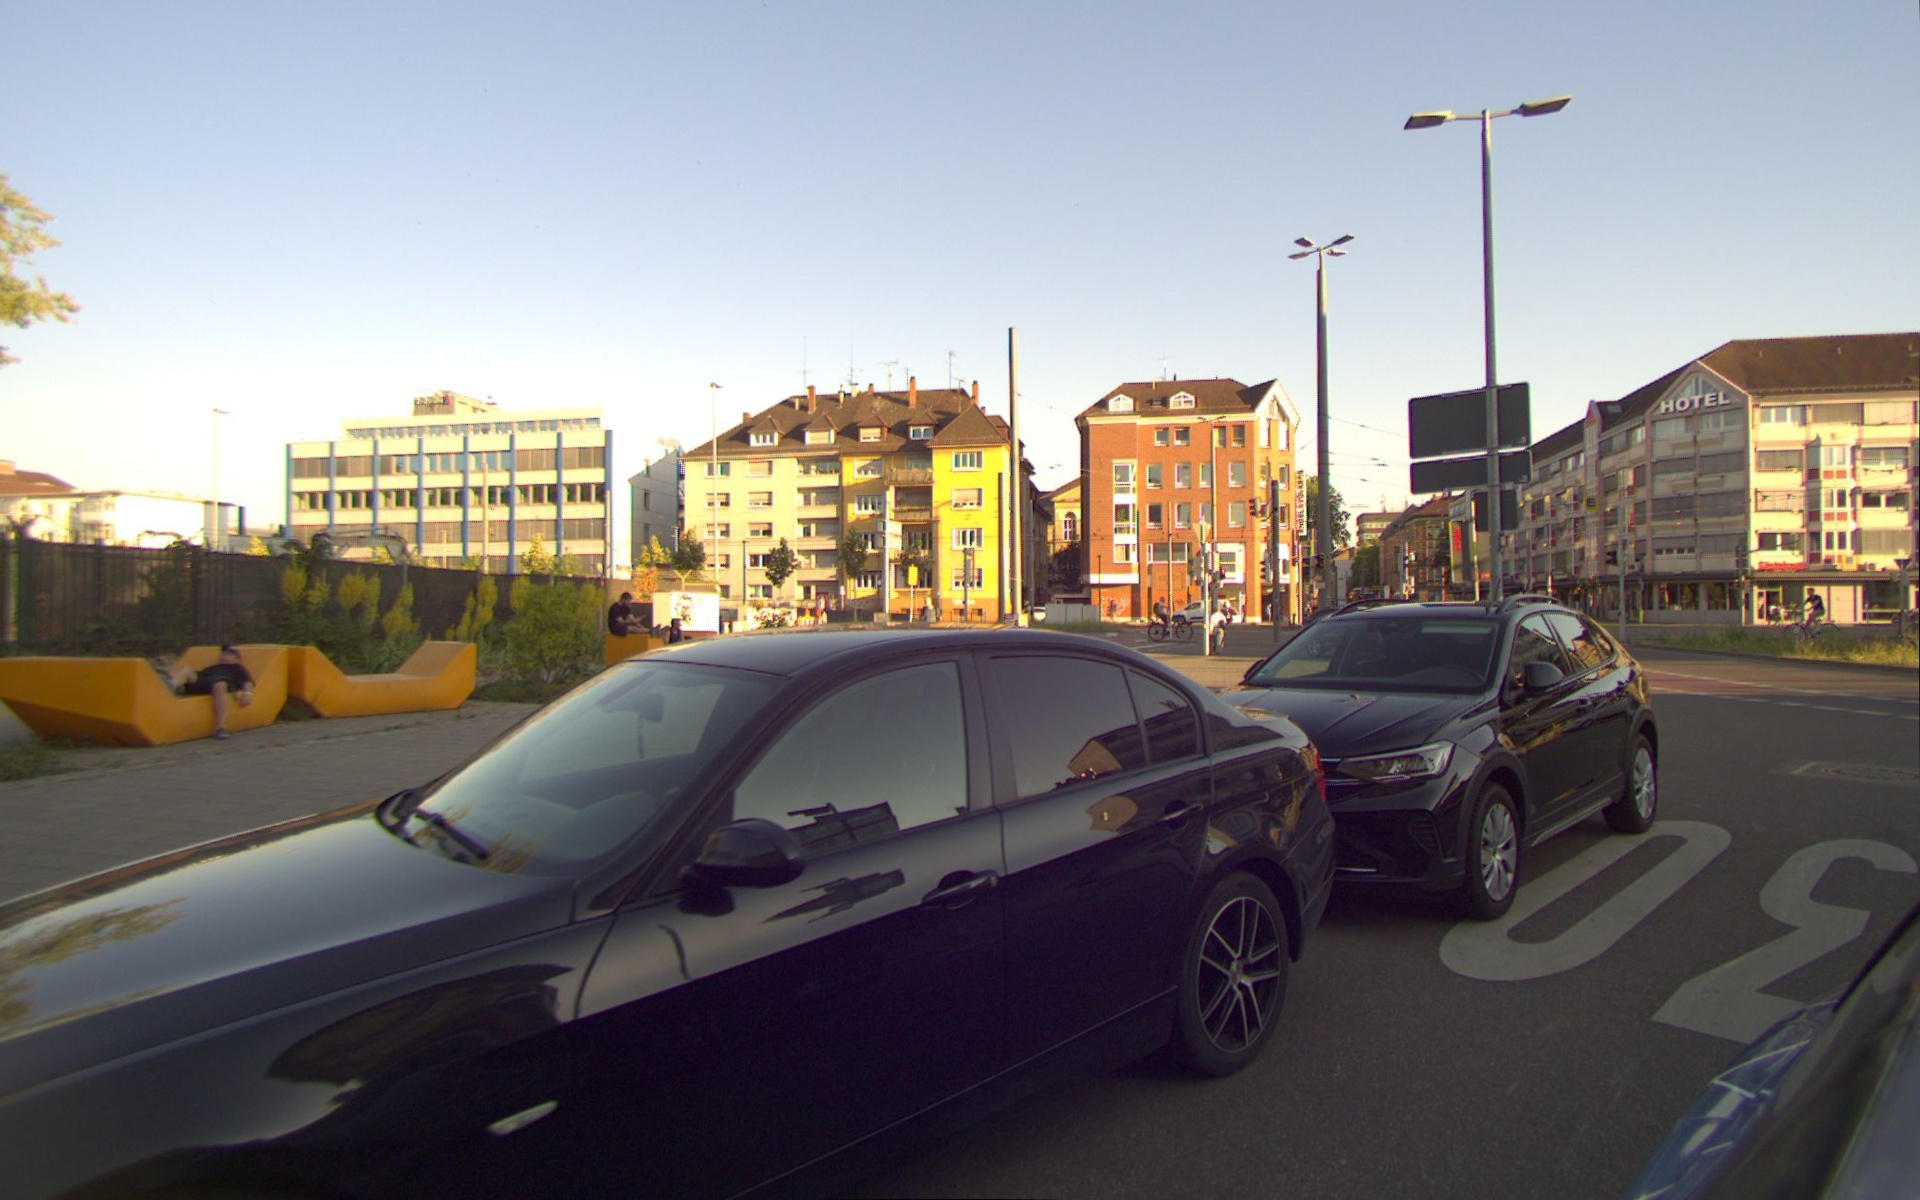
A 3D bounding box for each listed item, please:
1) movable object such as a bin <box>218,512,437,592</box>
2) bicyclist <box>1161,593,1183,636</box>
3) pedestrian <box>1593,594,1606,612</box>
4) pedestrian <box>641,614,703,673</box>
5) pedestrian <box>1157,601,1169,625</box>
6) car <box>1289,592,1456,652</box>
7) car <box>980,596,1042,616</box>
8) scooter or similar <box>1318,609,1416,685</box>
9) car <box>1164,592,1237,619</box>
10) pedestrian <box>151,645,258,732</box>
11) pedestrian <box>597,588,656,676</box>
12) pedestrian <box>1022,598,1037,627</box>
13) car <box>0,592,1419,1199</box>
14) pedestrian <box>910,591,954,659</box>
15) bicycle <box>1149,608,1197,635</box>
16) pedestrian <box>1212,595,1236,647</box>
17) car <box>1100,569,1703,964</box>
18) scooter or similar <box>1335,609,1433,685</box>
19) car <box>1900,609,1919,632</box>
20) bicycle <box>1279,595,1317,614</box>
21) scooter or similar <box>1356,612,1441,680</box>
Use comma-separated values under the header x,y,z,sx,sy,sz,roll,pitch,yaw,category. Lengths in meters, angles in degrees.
x,y,z,sx,sy,sz,roll,pitch,yaw,category
-17.803,-1.257,28.700,1.992,2.039,4.948,0,0,42,movable object such as a bin
8.603,0.585,41.076,0.738,1.691,0.592,-2,1,20,bicyclist
58.206,0.279,92.067,0.696,1.568,0.904,-1,-1,11,pedestrian
-5.914,0.873,20.808,0.977,1.172,0.731,-1,0,17,pedestrian
15.901,1.012,79.318,0.858,1.800,0.915,-1,0,9,pedestrian
12.176,0.605,30.167,1.905,1.638,4.397,0,0,-28,car
3.887,0.446,77.340,4.492,1.467,1.810,-1,0,12,car
7.175,0.801,17.914,0.600,1.276,1.527,0,-1,-33,scooter or similar
17.606,0.430,74.071,4.834,1.861,1.979,-1,-1,30,car
-8.676,0.994,11.663,0.551,0.904,0.982,-1,0,-4,pedestrian
-6.547,0.610,19.891,0.811,1.686,0.760,0,0,18,pedestrian
3.813,0.672,55.573,0.631,1.561,0.700,-1,0,29,pedestrian
-0.488,0.718,3.052,4.395,1.448,1.731,0,-1,-41,car
-0.752,0.645,26.738,0.805,1.758,0.945,0,-1,-30,pedestrian
8.632,0.865,41.057,1.824,1.036,0.592,0,-1,20,bicycle
8.347,0.666,31.984,0.681,1.634,0.593,0,-1,20,pedestrian
2.889,0.656,6.104,4.218,1.563,1.780,0,-1,-43,car
7.617,0.817,18.255,0.452,1.309,1.653,0,-1,-33,scooter or similar
62.941,1.285,64.733,3.833,1.440,1.644,0,0,10,car
31.925,0.446,95.599,3.259,1.748,1.065,0,0,14,bicycle
8.017,0.825,18.552,0.452,1.181,1.405,0,-1,-33,scooter or similar
